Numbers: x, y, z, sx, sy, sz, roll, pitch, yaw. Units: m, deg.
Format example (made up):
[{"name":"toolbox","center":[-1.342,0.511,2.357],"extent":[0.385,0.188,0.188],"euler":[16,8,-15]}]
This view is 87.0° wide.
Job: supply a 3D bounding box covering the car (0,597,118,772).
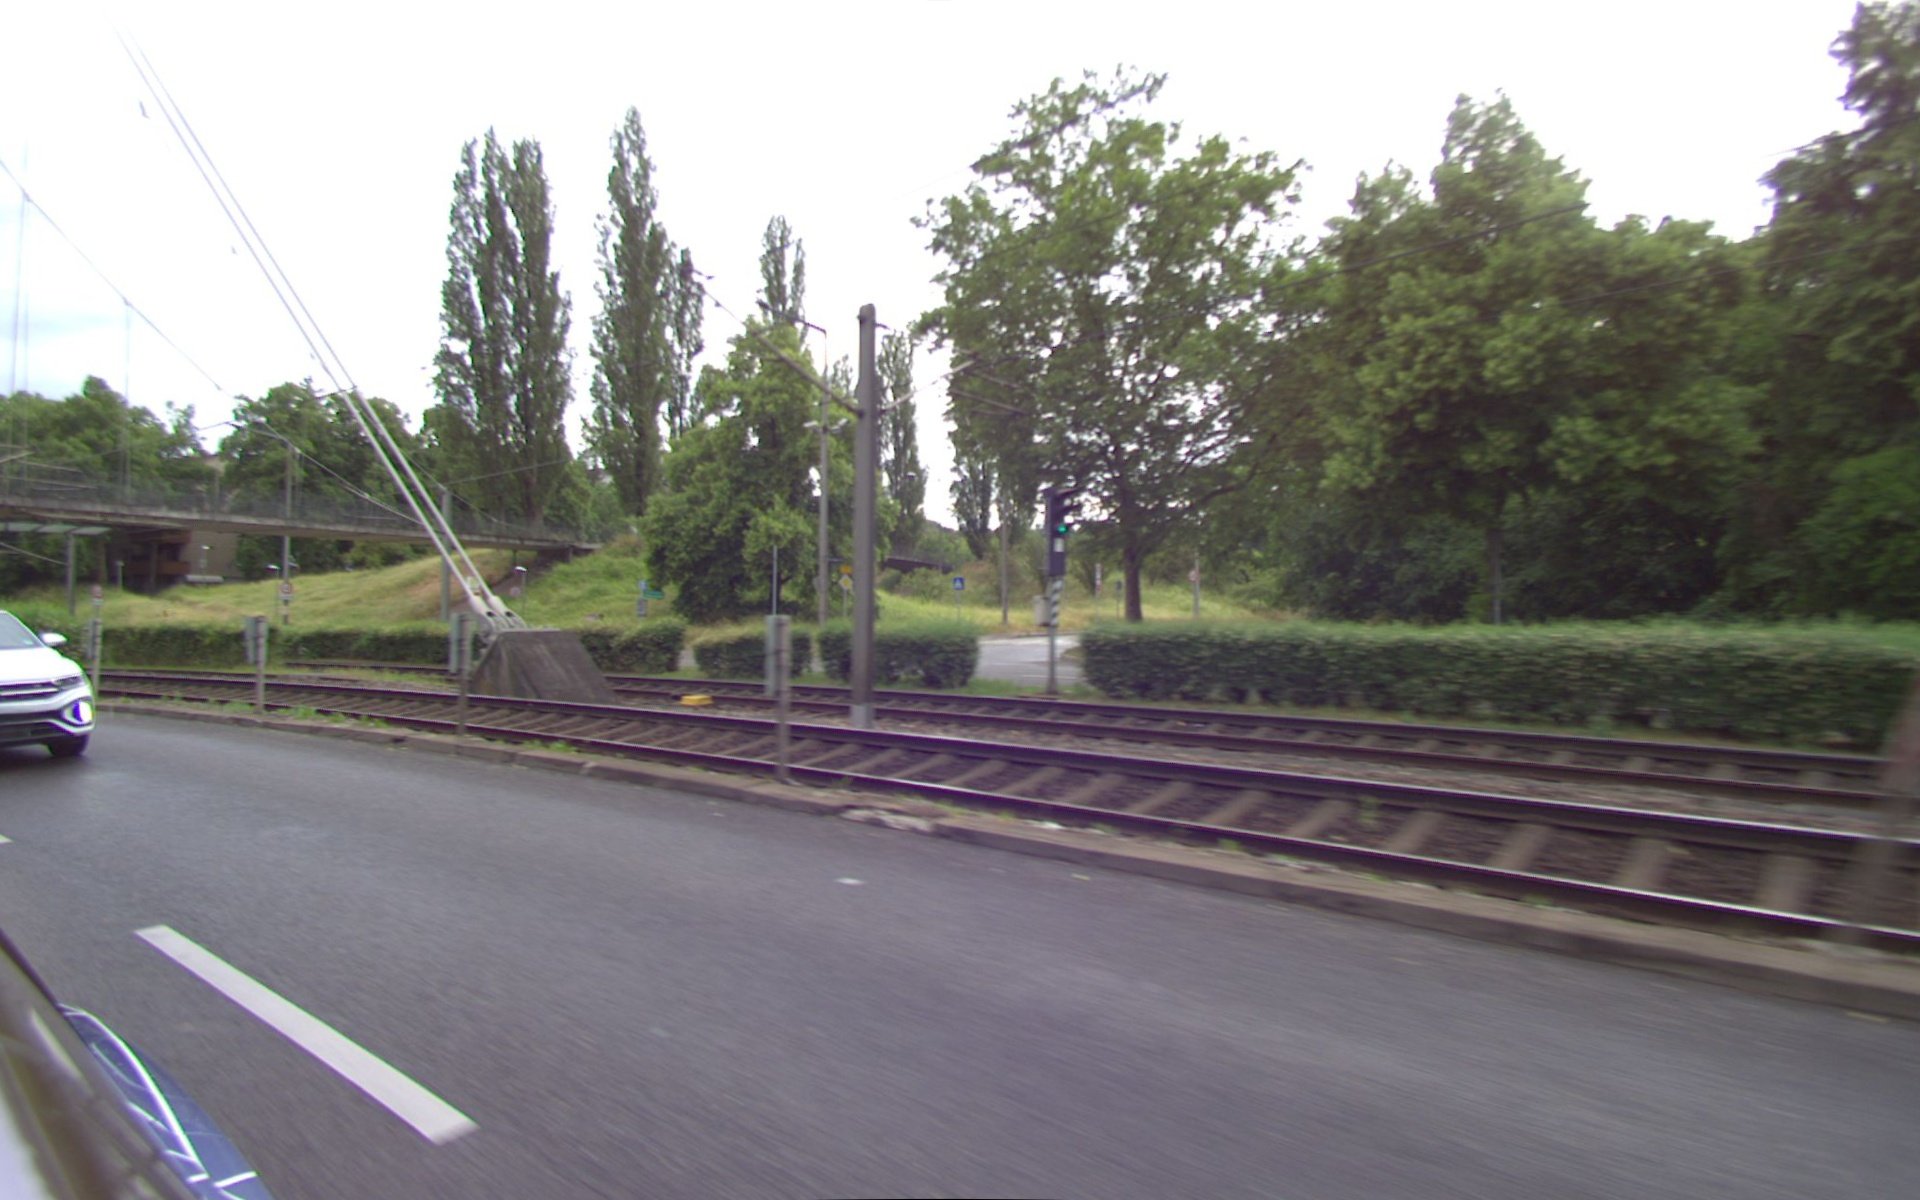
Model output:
[{"name":"car","center":[-10.426,0.770,10.004],"extent":[4.523,1.535,1.858],"euler":[-1,-1,31]}]
